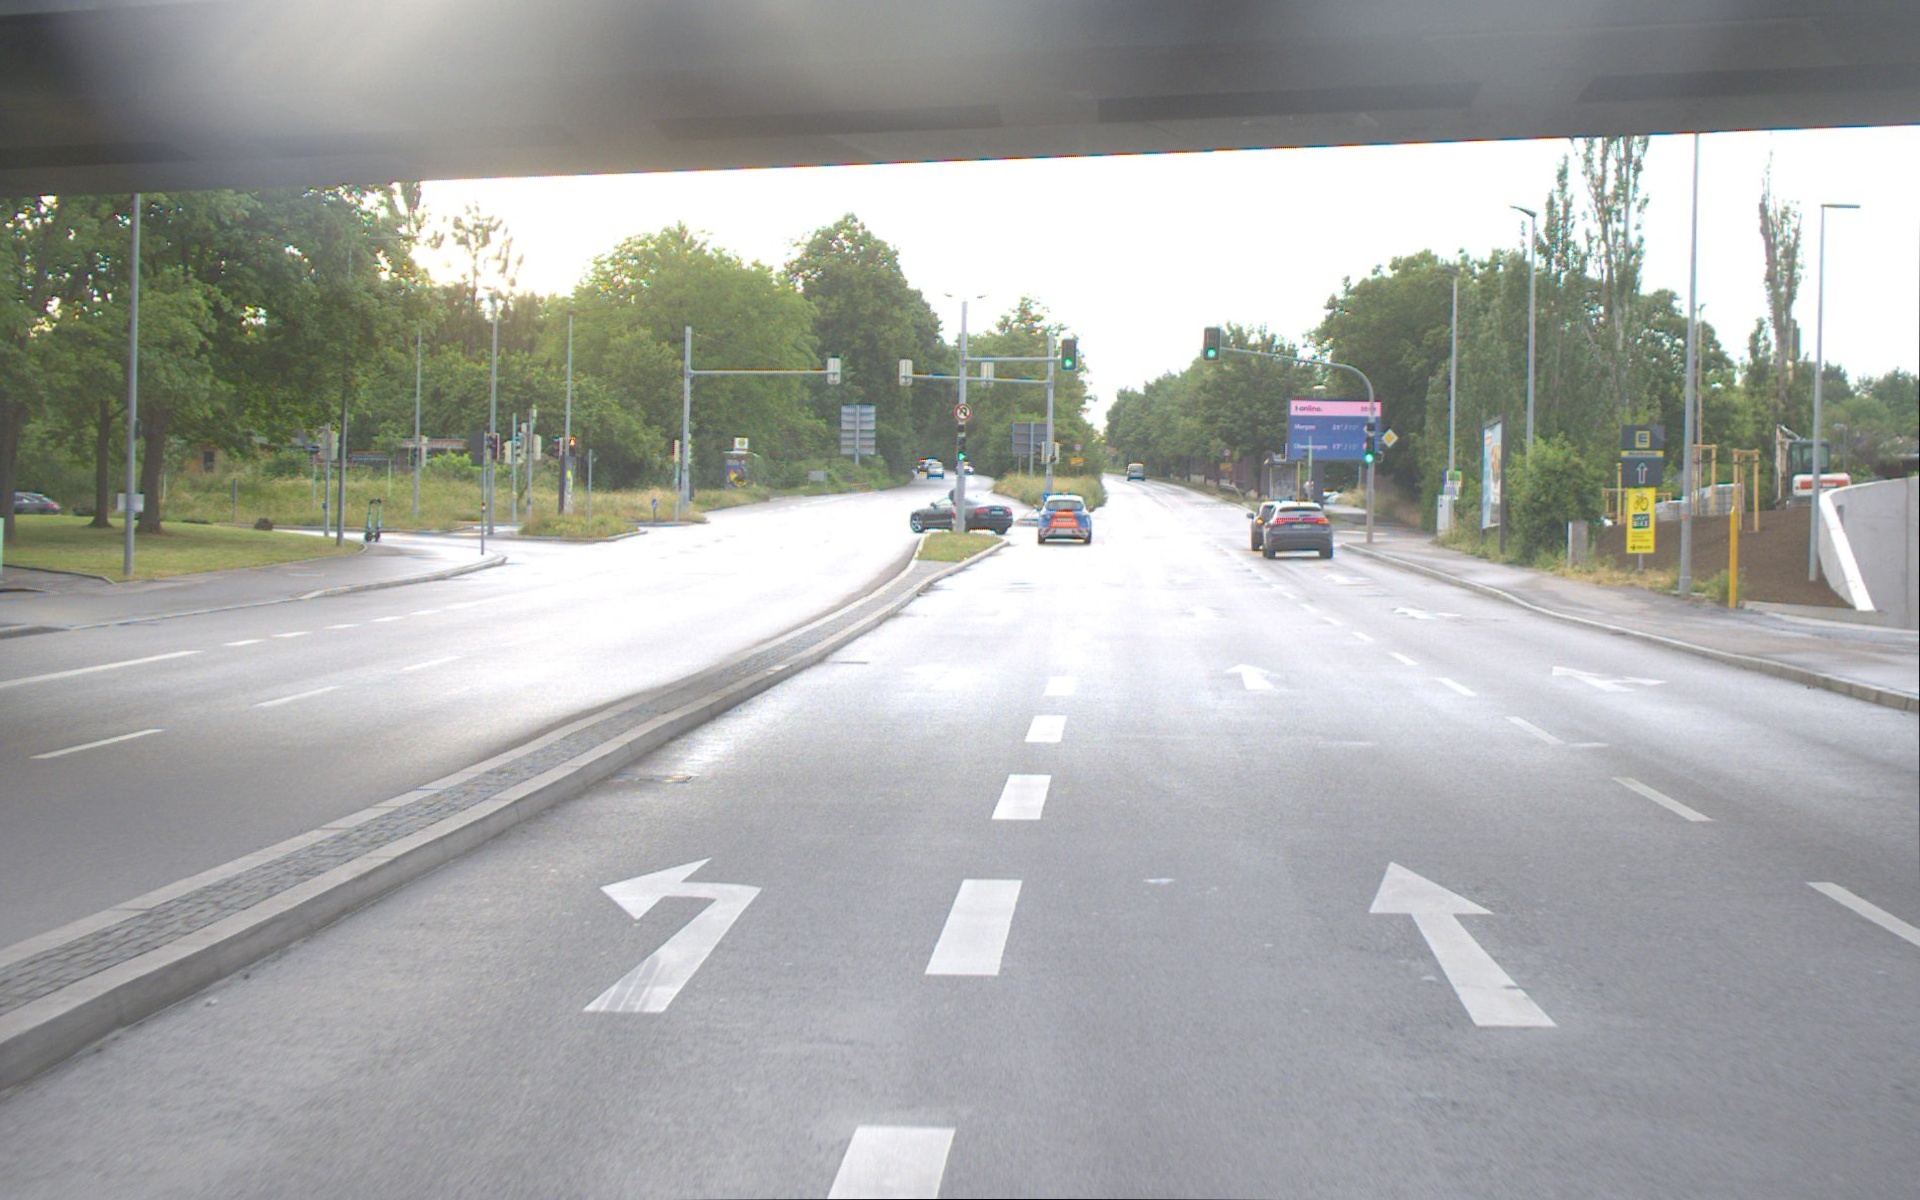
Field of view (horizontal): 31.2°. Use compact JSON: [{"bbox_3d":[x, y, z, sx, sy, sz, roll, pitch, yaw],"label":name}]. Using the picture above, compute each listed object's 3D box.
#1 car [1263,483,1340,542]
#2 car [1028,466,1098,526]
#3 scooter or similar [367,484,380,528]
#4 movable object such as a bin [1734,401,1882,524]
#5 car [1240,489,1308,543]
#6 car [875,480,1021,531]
[{"bbox_3d":[9.088,-2.353,91.753,1.745,1.465,4.166,2,2,2],"label":"car"},{"bbox_3d":[3.231,-3.273,108.779,2.076,1.712,4.198,3,1,1],"label":"car"},{"bbox_3d":[-16.691,-2.688,97.796,0.311,1.214,1.308,1,3,-11],"label":"scooter or similar"},{"bbox_3d":[23.617,-3.853,95.948,2.301,3.264,5.426,1,2,-5],"label":"movable object such as a bin"},{"bbox_3d":[9.264,-2.507,101.704,1.745,1.465,4.166,2,2,2],"label":"car"},{"bbox_3d":[-0.425,-3.337,121.437,4.657,1.577,2.169,3,1,30],"label":"car"}]
